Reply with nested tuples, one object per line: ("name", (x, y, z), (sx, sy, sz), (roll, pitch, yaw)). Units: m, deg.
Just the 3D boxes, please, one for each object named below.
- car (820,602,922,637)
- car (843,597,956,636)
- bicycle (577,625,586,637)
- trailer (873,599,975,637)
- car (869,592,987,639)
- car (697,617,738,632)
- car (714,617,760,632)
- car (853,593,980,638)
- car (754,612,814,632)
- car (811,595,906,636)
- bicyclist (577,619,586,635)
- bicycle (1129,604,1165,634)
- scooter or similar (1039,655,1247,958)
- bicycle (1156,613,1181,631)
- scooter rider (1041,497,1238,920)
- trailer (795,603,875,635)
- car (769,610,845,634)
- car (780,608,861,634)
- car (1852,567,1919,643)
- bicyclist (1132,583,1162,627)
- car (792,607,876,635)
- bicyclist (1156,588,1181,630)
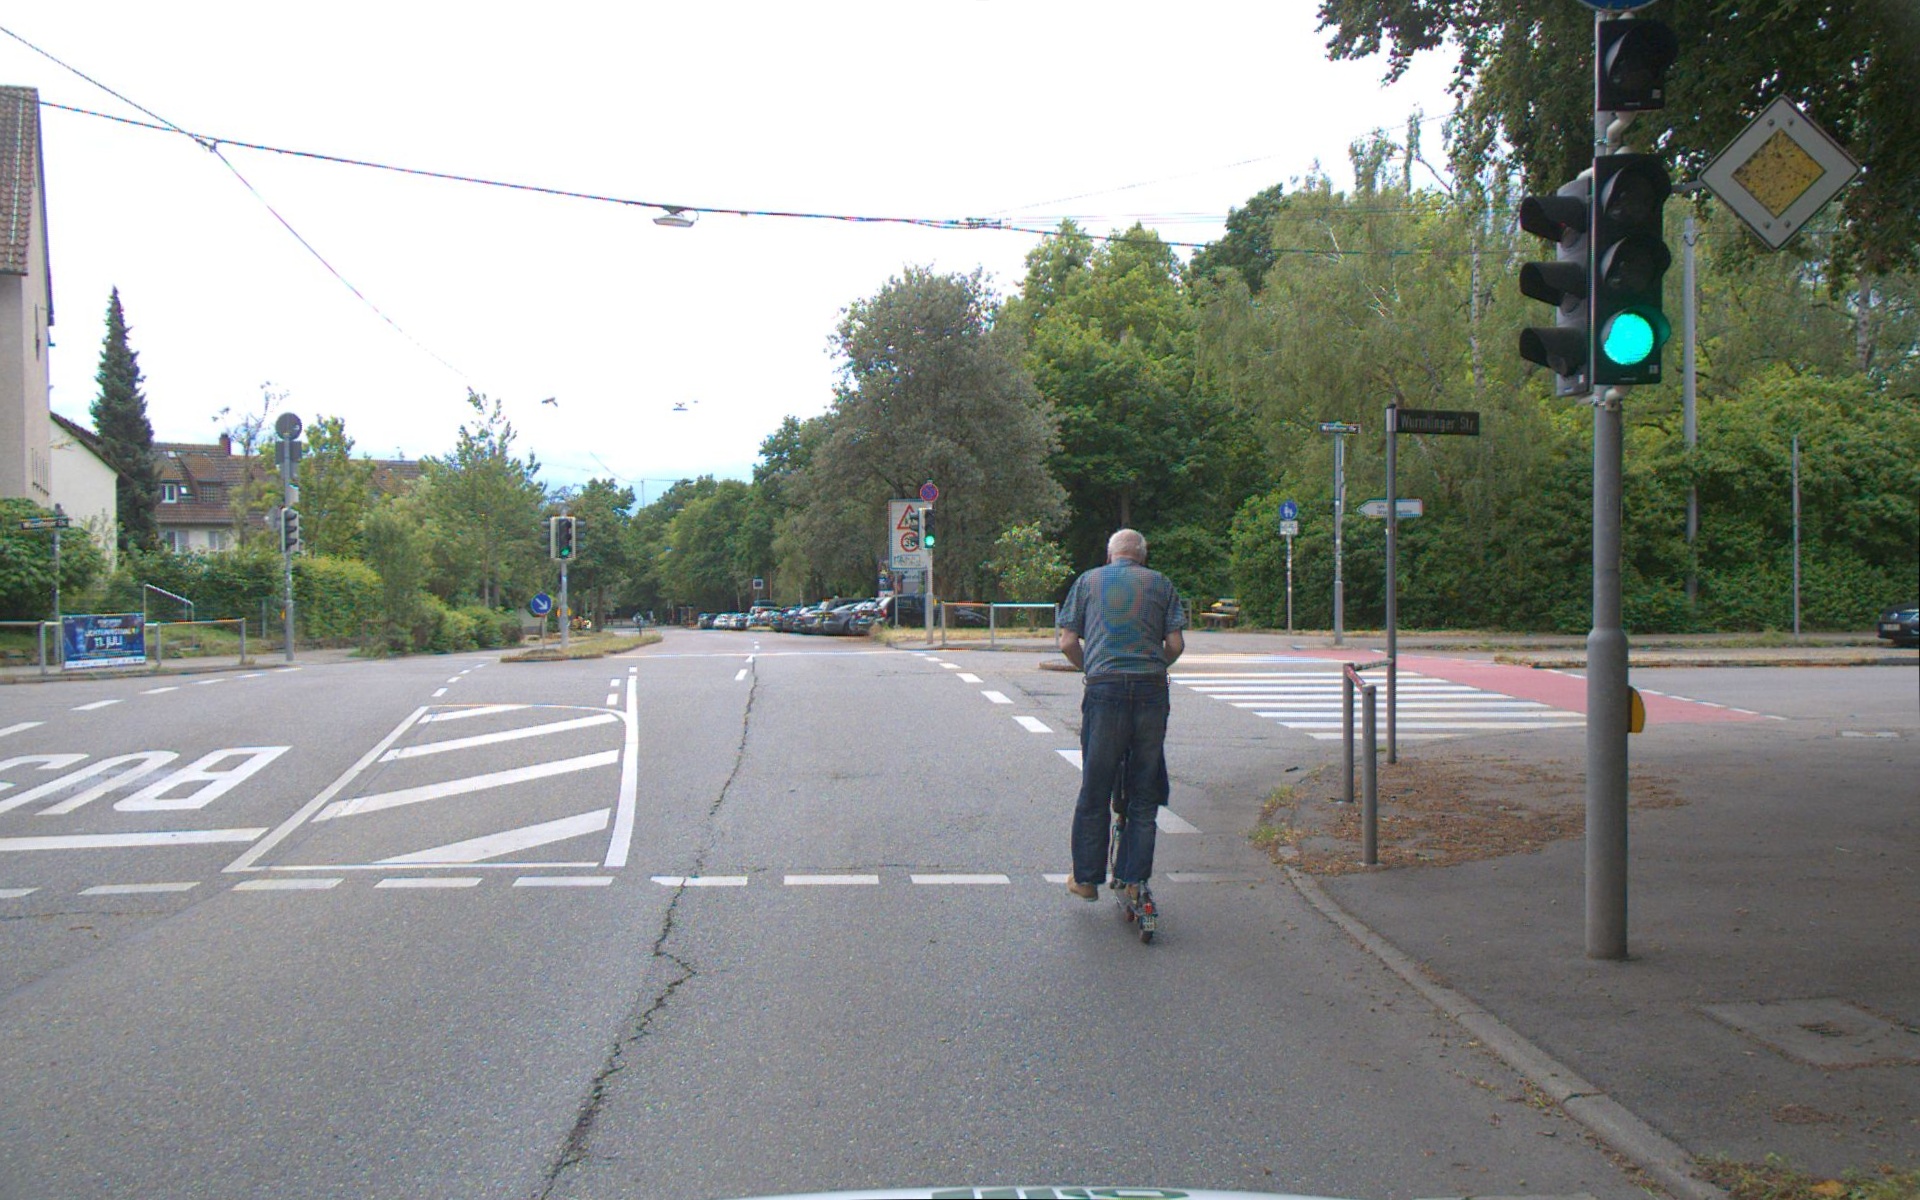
("car", (-3.822, 0.827, 71.232), (4.101, 1.431, 1.687), (0, -1, -22))
("car", (-2.361, 0.646, 64.661), (4.156, 1.490, 1.625), (0, -1, -20))
("bicycle", (-39.874, 3.274, 174.320), (0.830, 1.288, 2.644), (0, 0, -11))
("trailer", (-1.311, 0.661, 59.890), (3.352, 1.289, 1.607), (0, -2, -20))
("car", (-1.057, 0.504, 54.402), (3.652, 1.502, 1.571), (0, 0, -13))
("car", (-25.086, 2.546, 171.384), (3.844, 1.454, 1.725), (0, -1, -31))
("car", (-20.683, 2.294, 153.592), (3.852, 1.332, 1.722), (0, -1, -35))
("car", (-1.500, 0.525, 56.824), (4.076, 1.502, 1.566), (0, -1, -22))
("car", (-12.427, 1.559, 116.779), (3.915, 1.430, 1.742), (0, -1, -26))
("car", (-4.538, 0.699, 73.940), (3.927, 1.755, 1.670), (0, -1, -20))
("bicyclist", (-39.890, 2.831, 174.361), (0.830, 1.727, 0.711), (0, 0, -13))
("bicycle", (5.254, 0.529, 46.571), (0.627, 0.771, 1.678), (-1, 2, -8))
("scooter or similar", (0.794, 0.877, 7.558), (0.668, 1.159, 1.458), (0, 1, -5))
("bicycle", (6.120, 0.643, 48.585), (0.508, 0.506, 0.987), (-1, -2, -6))
("scooter rider", (0.782, 0.439, 7.518), (0.668, 1.760, 1.195), (0, 1, -5))
("trailer", (-6.155, 0.931, 81.340), (3.637, 1.562, 1.635), (0, -1, -22))
("car", (-9.154, 1.322, 99.077), (4.257, 1.364, 1.720), (0, -1, -25))
("car", (-7.916, 1.178, 93.773), (4.289, 1.471, 1.621), (0, -1, -25))
("car", (20.831, 0.062, 33.371), (4.692, 1.464, 2.036), (-1, 0, -6))
("bicyclist", (5.257, 0.130, 46.535), (0.627, 1.182, 0.802), (-1, 2, -8))
("car", (-6.391, 1.060, 83.585), (3.977, 1.351, 1.550), (0, -2, -20))
("bicyclist", (6.117, 0.280, 48.605), (0.508, 1.208, 0.966), (-1, -2, -6))
